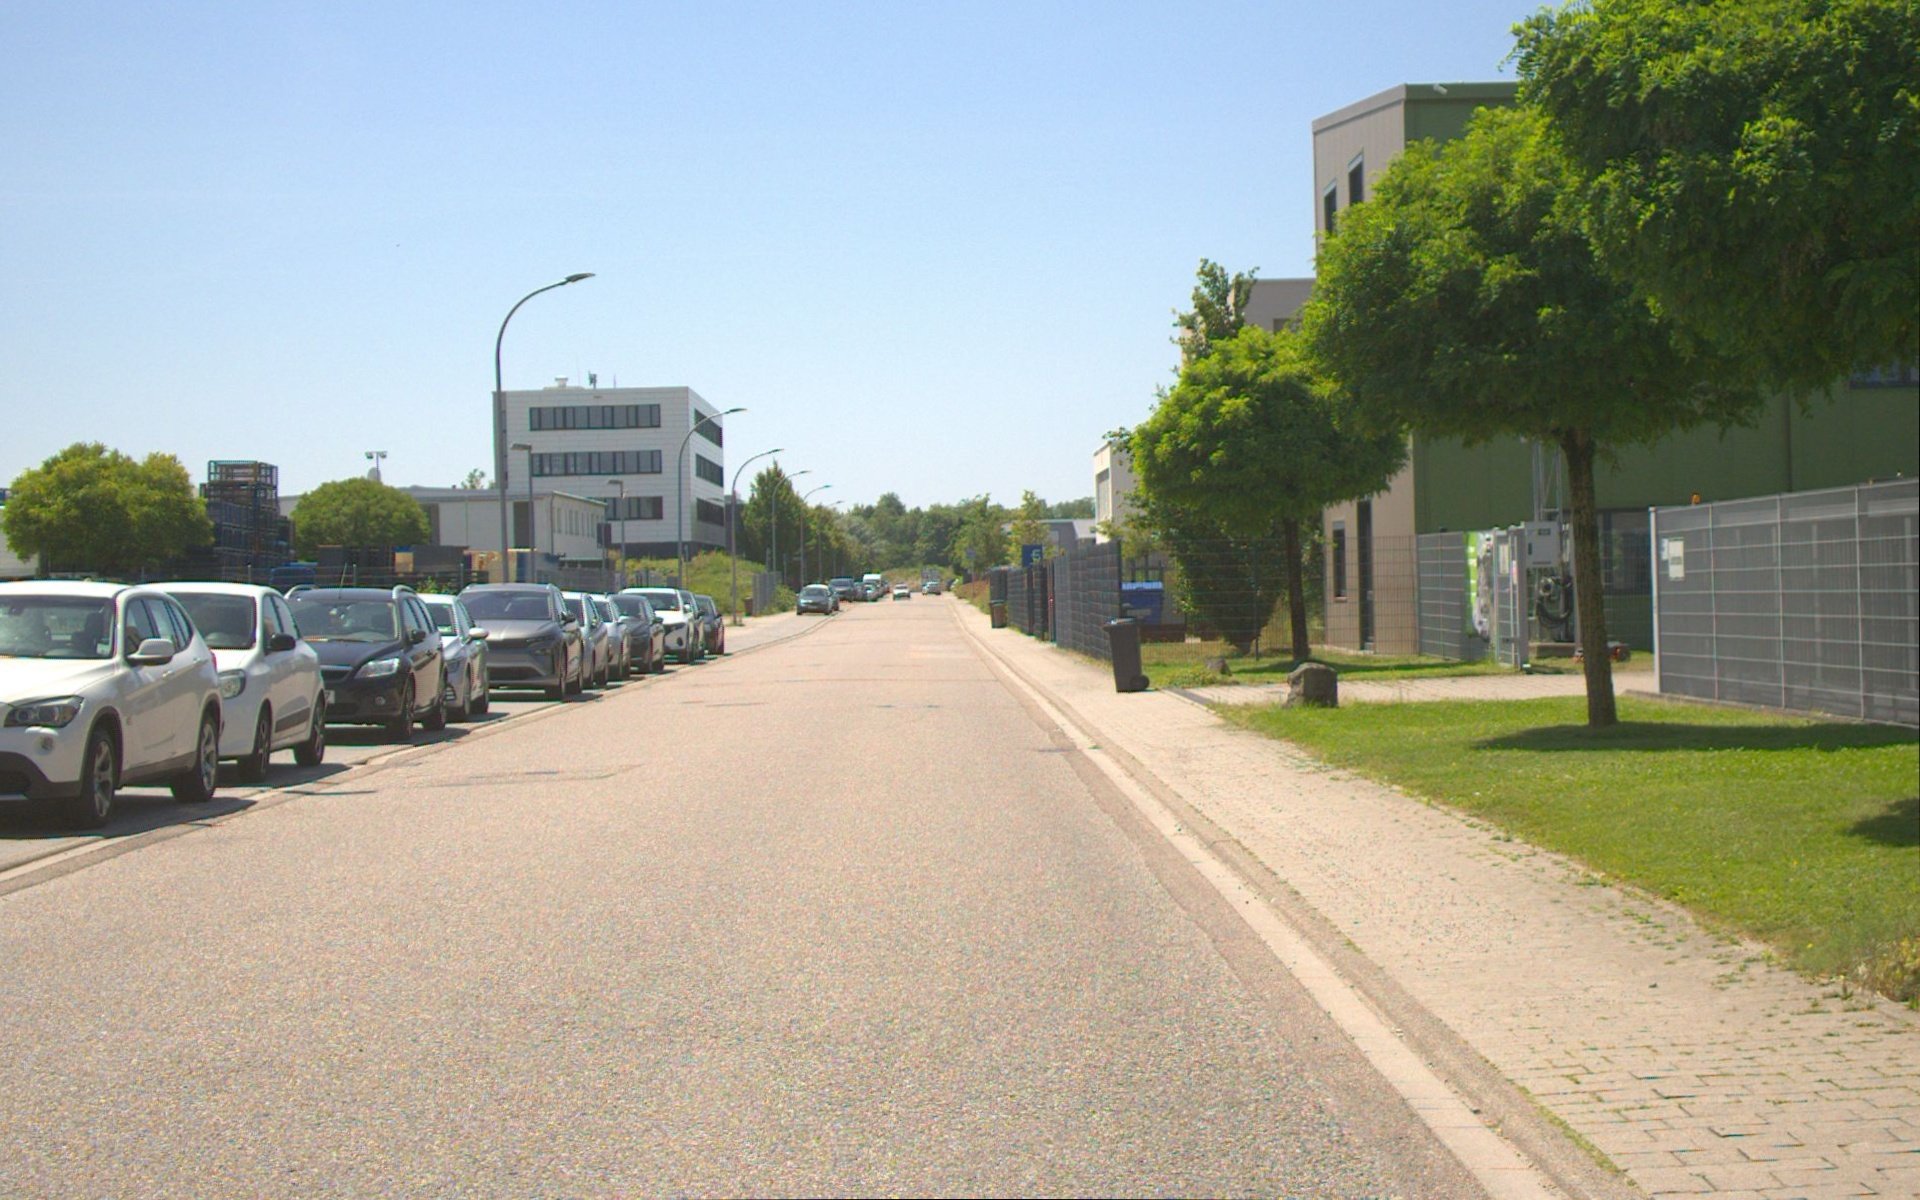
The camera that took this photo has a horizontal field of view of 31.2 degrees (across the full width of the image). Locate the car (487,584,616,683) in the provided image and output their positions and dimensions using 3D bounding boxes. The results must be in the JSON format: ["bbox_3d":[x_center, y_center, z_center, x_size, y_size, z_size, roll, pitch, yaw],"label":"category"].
[{"bbox_3d":[-6.472,0.505,54.784,1.693,1.520,3.735,0,0,-1],"label":"car"}]

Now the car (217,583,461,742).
[{"bbox_3d":[-6.244,0.588,34.997,1.763,1.512,4.380,0,0,-1],"label":"car"}]

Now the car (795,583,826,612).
[{"bbox_3d":[-7.830,-0.150,179.863,1.466,1.484,3.207,-1,0,0],"label":"car"}]

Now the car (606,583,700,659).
[{"bbox_3d":[-6.586,0.432,74.112,1.769,1.587,4.360,0,0,-2],"label":"car"}]

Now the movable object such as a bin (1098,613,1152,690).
[{"bbox_3d":[2.098,0.654,43.591,0.552,0.925,0.521,-5,0,9],"label":"movable object such as a bin"}]

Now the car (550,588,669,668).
[{"bbox_3d":[-6.607,0.507,65.193,1.857,1.476,4.229,0,0,-1],"label":"car"}]

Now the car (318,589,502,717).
[{"bbox_3d":[-6.498,0.593,40.972,1.763,1.446,4.201,0,0,-3],"label":"car"}]

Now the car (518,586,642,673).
[{"bbox_3d":[-6.654,0.490,60.625,1.775,1.476,4.816,0,0,-1],"label":"car"}]

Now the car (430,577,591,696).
[{"bbox_3d":[-6.301,0.485,48.624,1.790,1.601,4.463,0,0,-1],"label":"car"}]

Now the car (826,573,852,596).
[{"bbox_3d":[-8.257,-1.063,234.844,1.644,1.484,3.207,-1,0,0],"label":"car"}]

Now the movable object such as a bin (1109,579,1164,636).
[{"bbox_3d":[4.619,0.190,90.138,1.334,1.454,0.949,-2,0,-1],"label":"movable object such as a bin"}]

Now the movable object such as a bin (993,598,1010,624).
[{"bbox_3d":[1.603,0.418,132.032,0.552,0.925,0.522,-5,1,4],"label":"movable object such as a bin"}]

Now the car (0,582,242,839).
[{"bbox_3d":[-6.161,0.655,22.808,1.787,1.537,4.364,0,0,1],"label":"car"}]

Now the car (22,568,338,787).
[{"bbox_3d":[-6.251,0.576,27.940,1.787,1.651,3.769,0,0,-1],"label":"car"}]

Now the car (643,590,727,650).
[{"bbox_3d":[-6.777,0.485,85.067,1.769,1.456,4.333,0,0,0],"label":"car"}]
